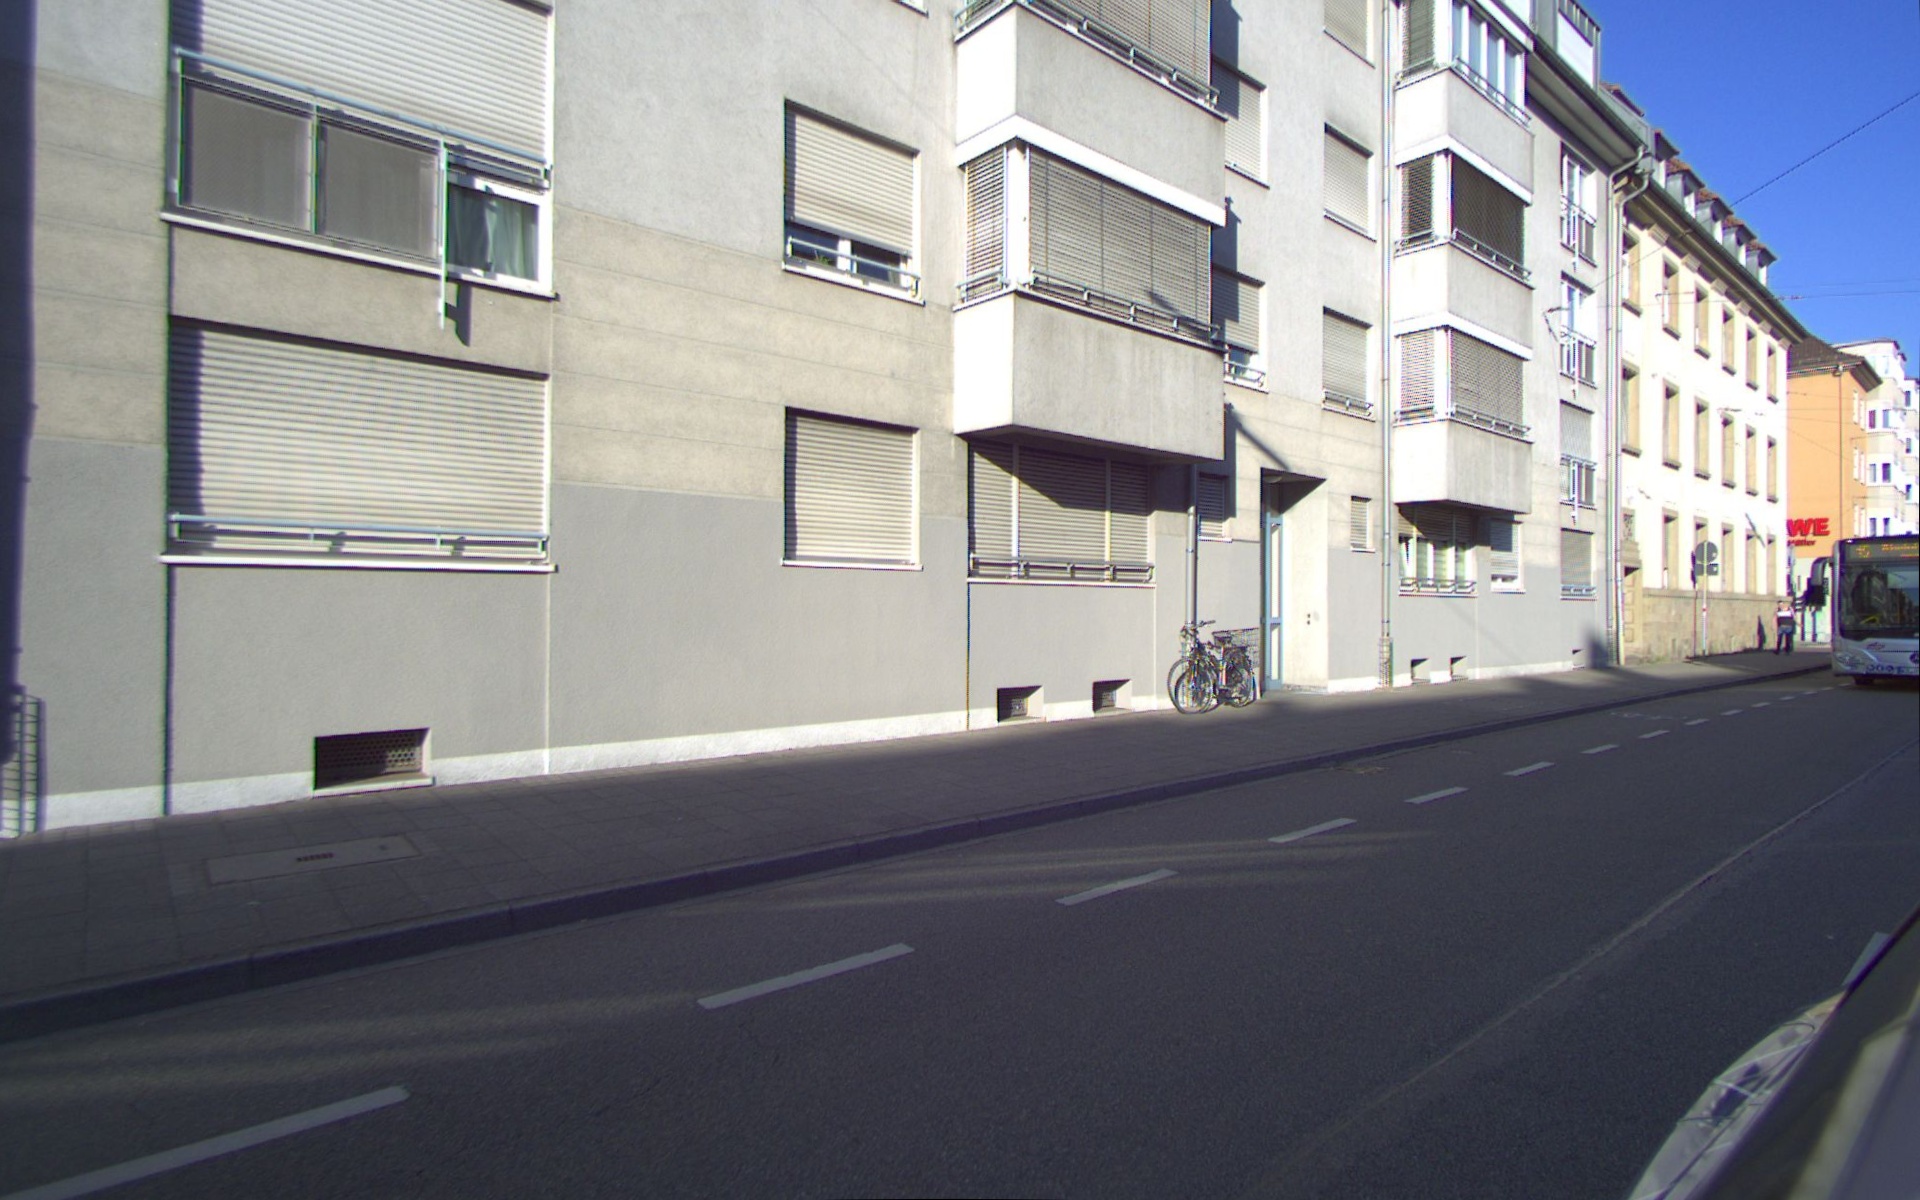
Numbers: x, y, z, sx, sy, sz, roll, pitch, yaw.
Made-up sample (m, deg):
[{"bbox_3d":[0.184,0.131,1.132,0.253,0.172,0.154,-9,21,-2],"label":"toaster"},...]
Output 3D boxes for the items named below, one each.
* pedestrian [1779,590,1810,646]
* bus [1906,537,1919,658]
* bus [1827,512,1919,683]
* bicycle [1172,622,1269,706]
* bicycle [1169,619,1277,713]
[{"bbox_3d":[26.416,0.558,32.045,0.549,1.753,0.648,1,1,-40],"label":"pedestrian"},{"bbox_3d":[29.385,-0.088,28.624,10.414,3.116,2.710,0,-1,-41],"label":"bus"},{"bbox_3d":[21.494,-0.054,21.788,10.414,3.116,2.729,0,-1,-41],"label":"bus"},{"bbox_3d":[3.359,0.792,12.951,1.700,0.983,0.279,0,2,-42],"label":"bicycle"},{"bbox_3d":[3.229,0.772,12.339,1.700,1.045,0.360,0,2,-42],"label":"bicycle"}]
